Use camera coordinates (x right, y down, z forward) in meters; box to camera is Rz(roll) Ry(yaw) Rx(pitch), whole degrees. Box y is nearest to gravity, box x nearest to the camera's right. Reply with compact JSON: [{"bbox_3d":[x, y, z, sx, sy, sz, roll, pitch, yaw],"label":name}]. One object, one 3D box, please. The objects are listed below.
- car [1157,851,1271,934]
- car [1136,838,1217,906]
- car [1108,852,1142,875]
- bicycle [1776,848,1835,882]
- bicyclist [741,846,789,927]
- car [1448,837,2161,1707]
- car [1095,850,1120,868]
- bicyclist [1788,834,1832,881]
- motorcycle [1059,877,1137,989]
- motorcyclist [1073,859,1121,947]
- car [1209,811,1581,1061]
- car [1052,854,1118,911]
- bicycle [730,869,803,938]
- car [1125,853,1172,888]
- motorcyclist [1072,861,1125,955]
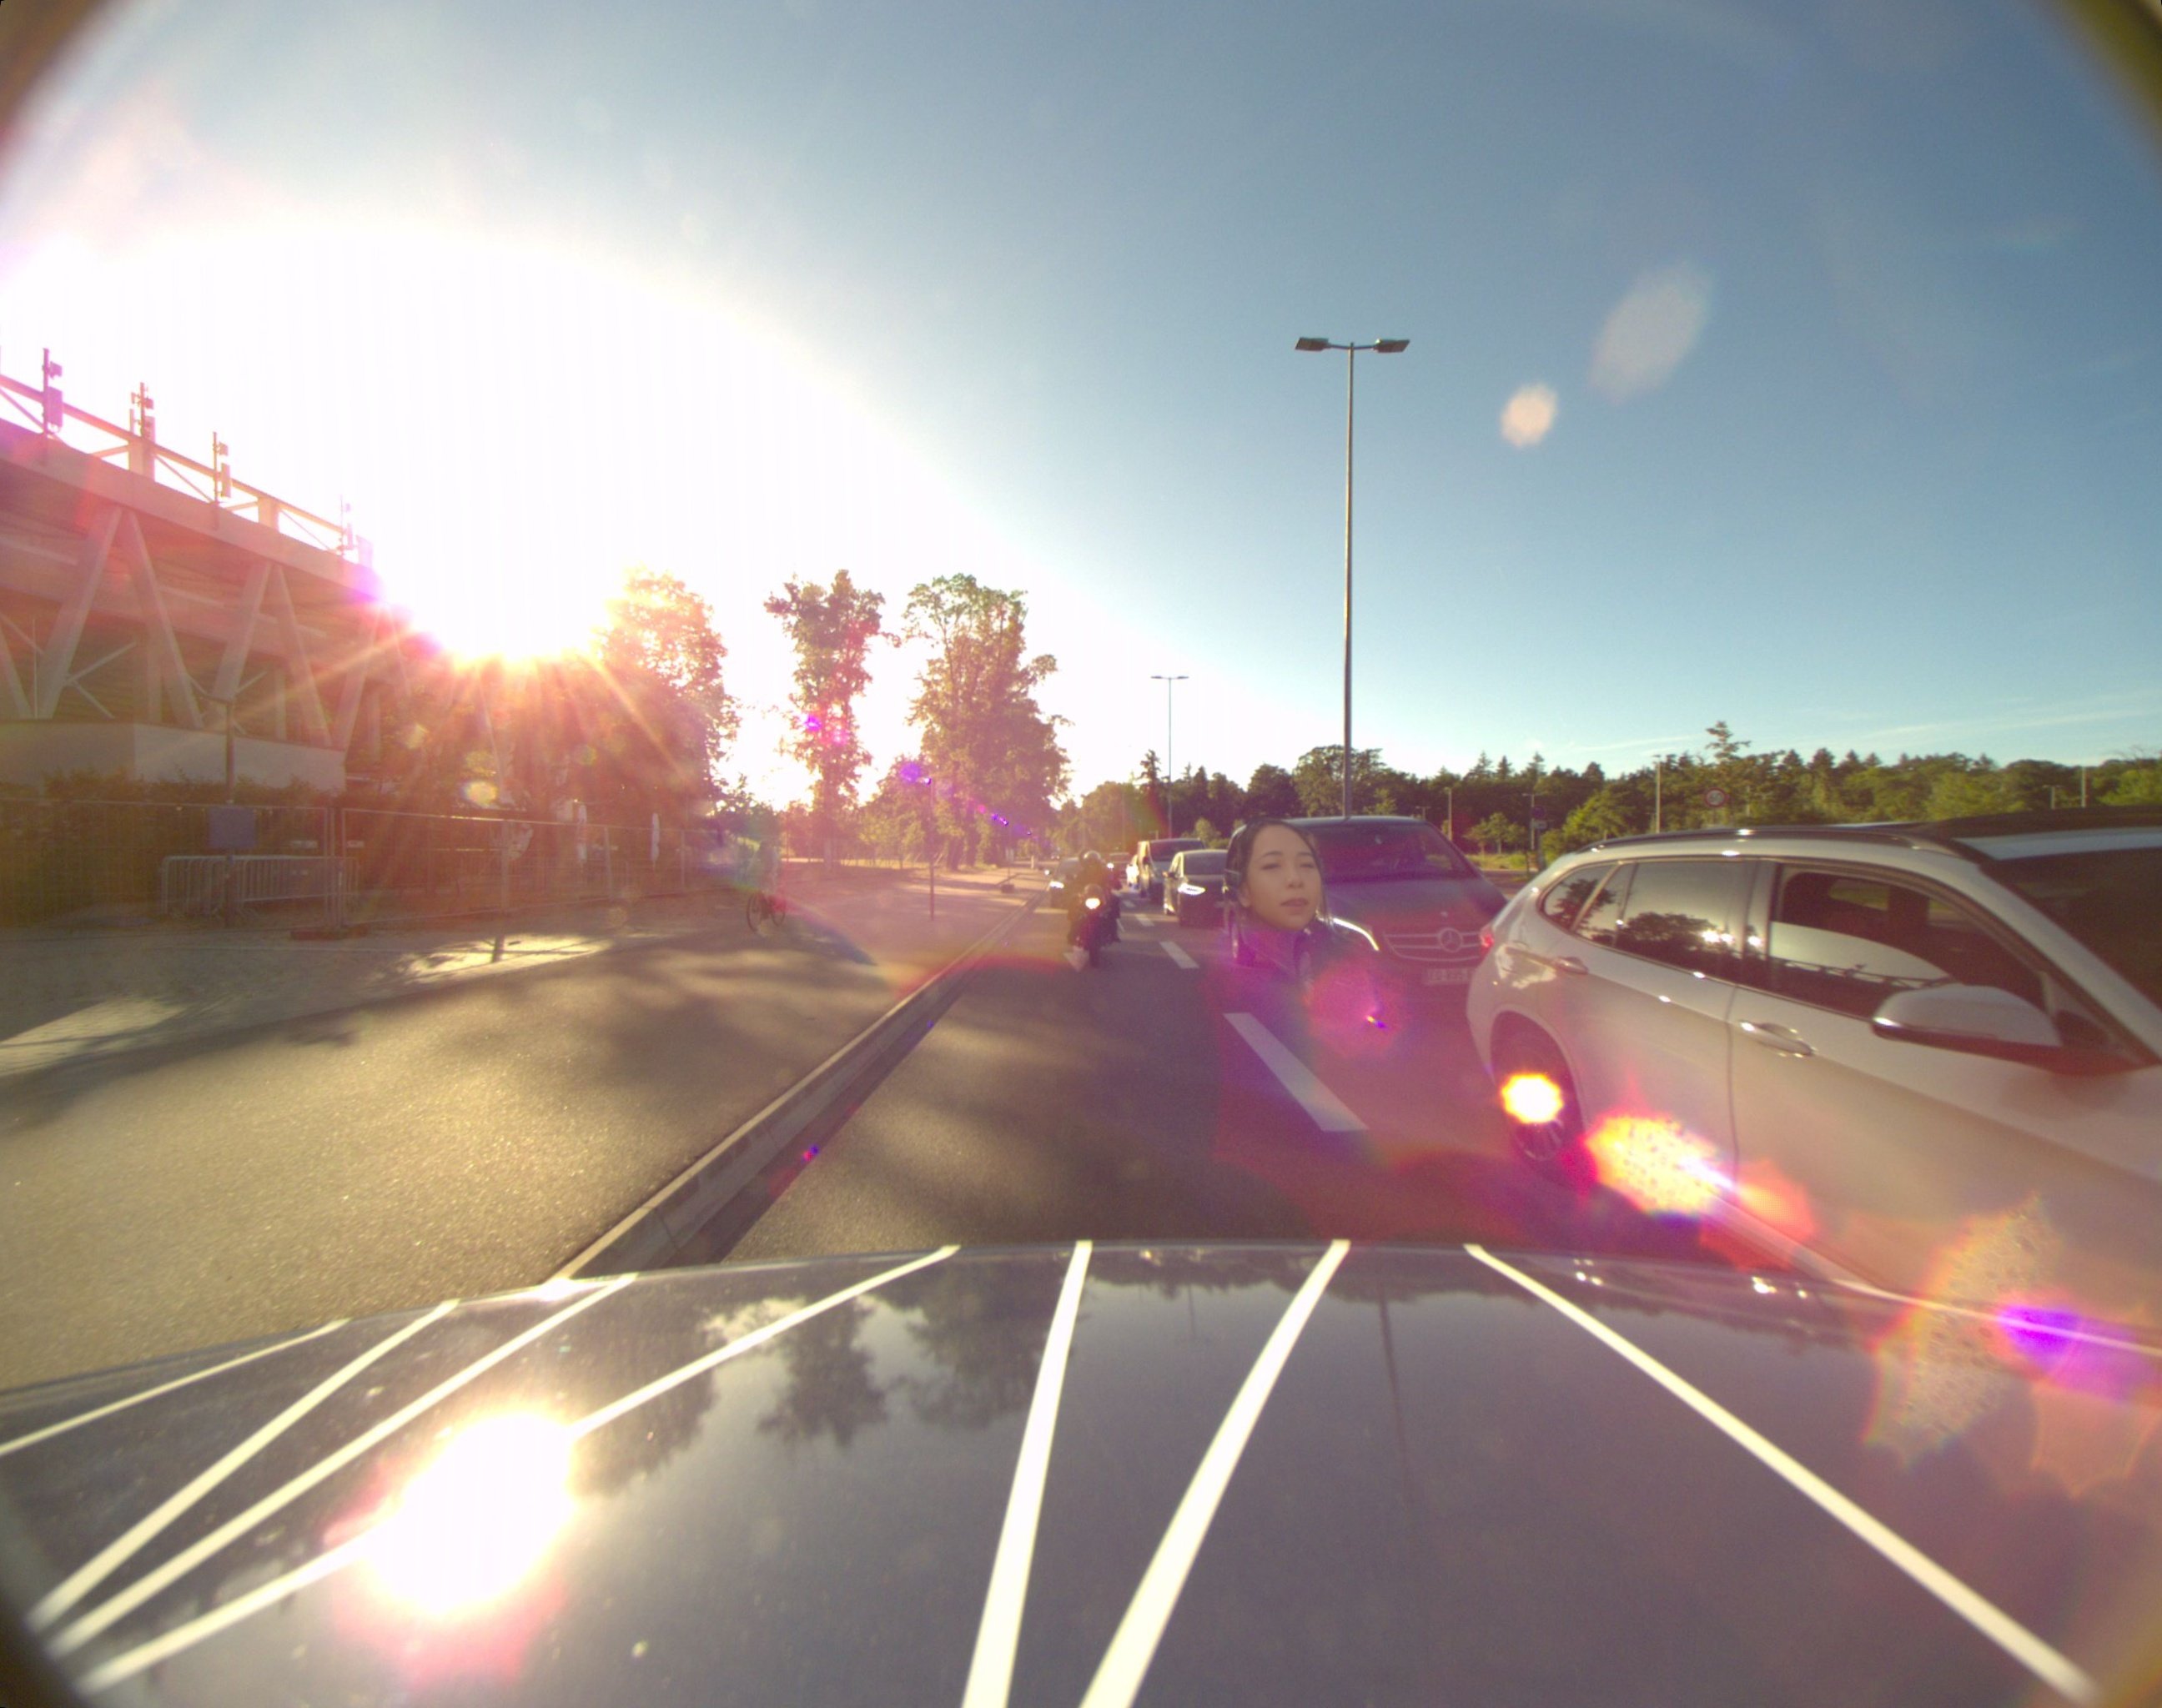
[{"bbox_3d":[2.807,0.740,16.880,1.736,1.560,4.103,-2,0,0],"label":"car"},{"bbox_3d":[2.937,0.510,24.452,1.867,1.882,5.067,-2,0,0],"label":"car"},{"bbox_3d":[2.826,0.586,49.692,1.896,1.389,4.639,-2,1,0],"label":"car"},{"bbox_3d":[22.910,0.323,24.056,0.584,1.013,1.362,-2,1,1],"label":"bicycle"},{"bbox_3d":[-5.848,0.576,14.086,0.521,1.460,0.861,0,1,1],"label":"bicyclist"},{"bbox_3d":[2.820,0.758,1.829,1.797,1.574,4.321,-2,0,1],"label":"car"},{"bbox_3d":[2.230,0.404,65.757,1.896,1.479,4.639,-2,1,0],"label":"car"},{"bbox_3d":[22.872,0.105,23.854,0.593,1.405,0.800,-2,1,2],"label":"bicyclist"},{"bbox_3d":[0.222,1.011,10.798,0.916,1.243,2.962,-2,0,1],"label":"motorcycle"},{"bbox_3d":[0.245,0.732,11.652,0.671,1.257,0.826,-2,1,1],"label":"motorcyclist"},{"bbox_3d":[2.851,0.615,8.429,1.885,1.862,5.234,-2,0,0],"label":"car"},{"bbox_3d":[0.097,0.820,24.223,1.867,1.538,4.795,-2,0,0],"label":"car"},{"bbox_3d":[-5.846,0.886,14.230,0.555,1.131,1.864,1,1,1],"label":"bicycle"},{"bbox_3d":[2.960,0.684,34.105,1.605,1.389,4.639,-2,1,0],"label":"car"},{"bbox_3d":[0.243,0.742,10.780,0.671,1.257,0.826,-2,1,1],"label":"motorcyclist"}]
